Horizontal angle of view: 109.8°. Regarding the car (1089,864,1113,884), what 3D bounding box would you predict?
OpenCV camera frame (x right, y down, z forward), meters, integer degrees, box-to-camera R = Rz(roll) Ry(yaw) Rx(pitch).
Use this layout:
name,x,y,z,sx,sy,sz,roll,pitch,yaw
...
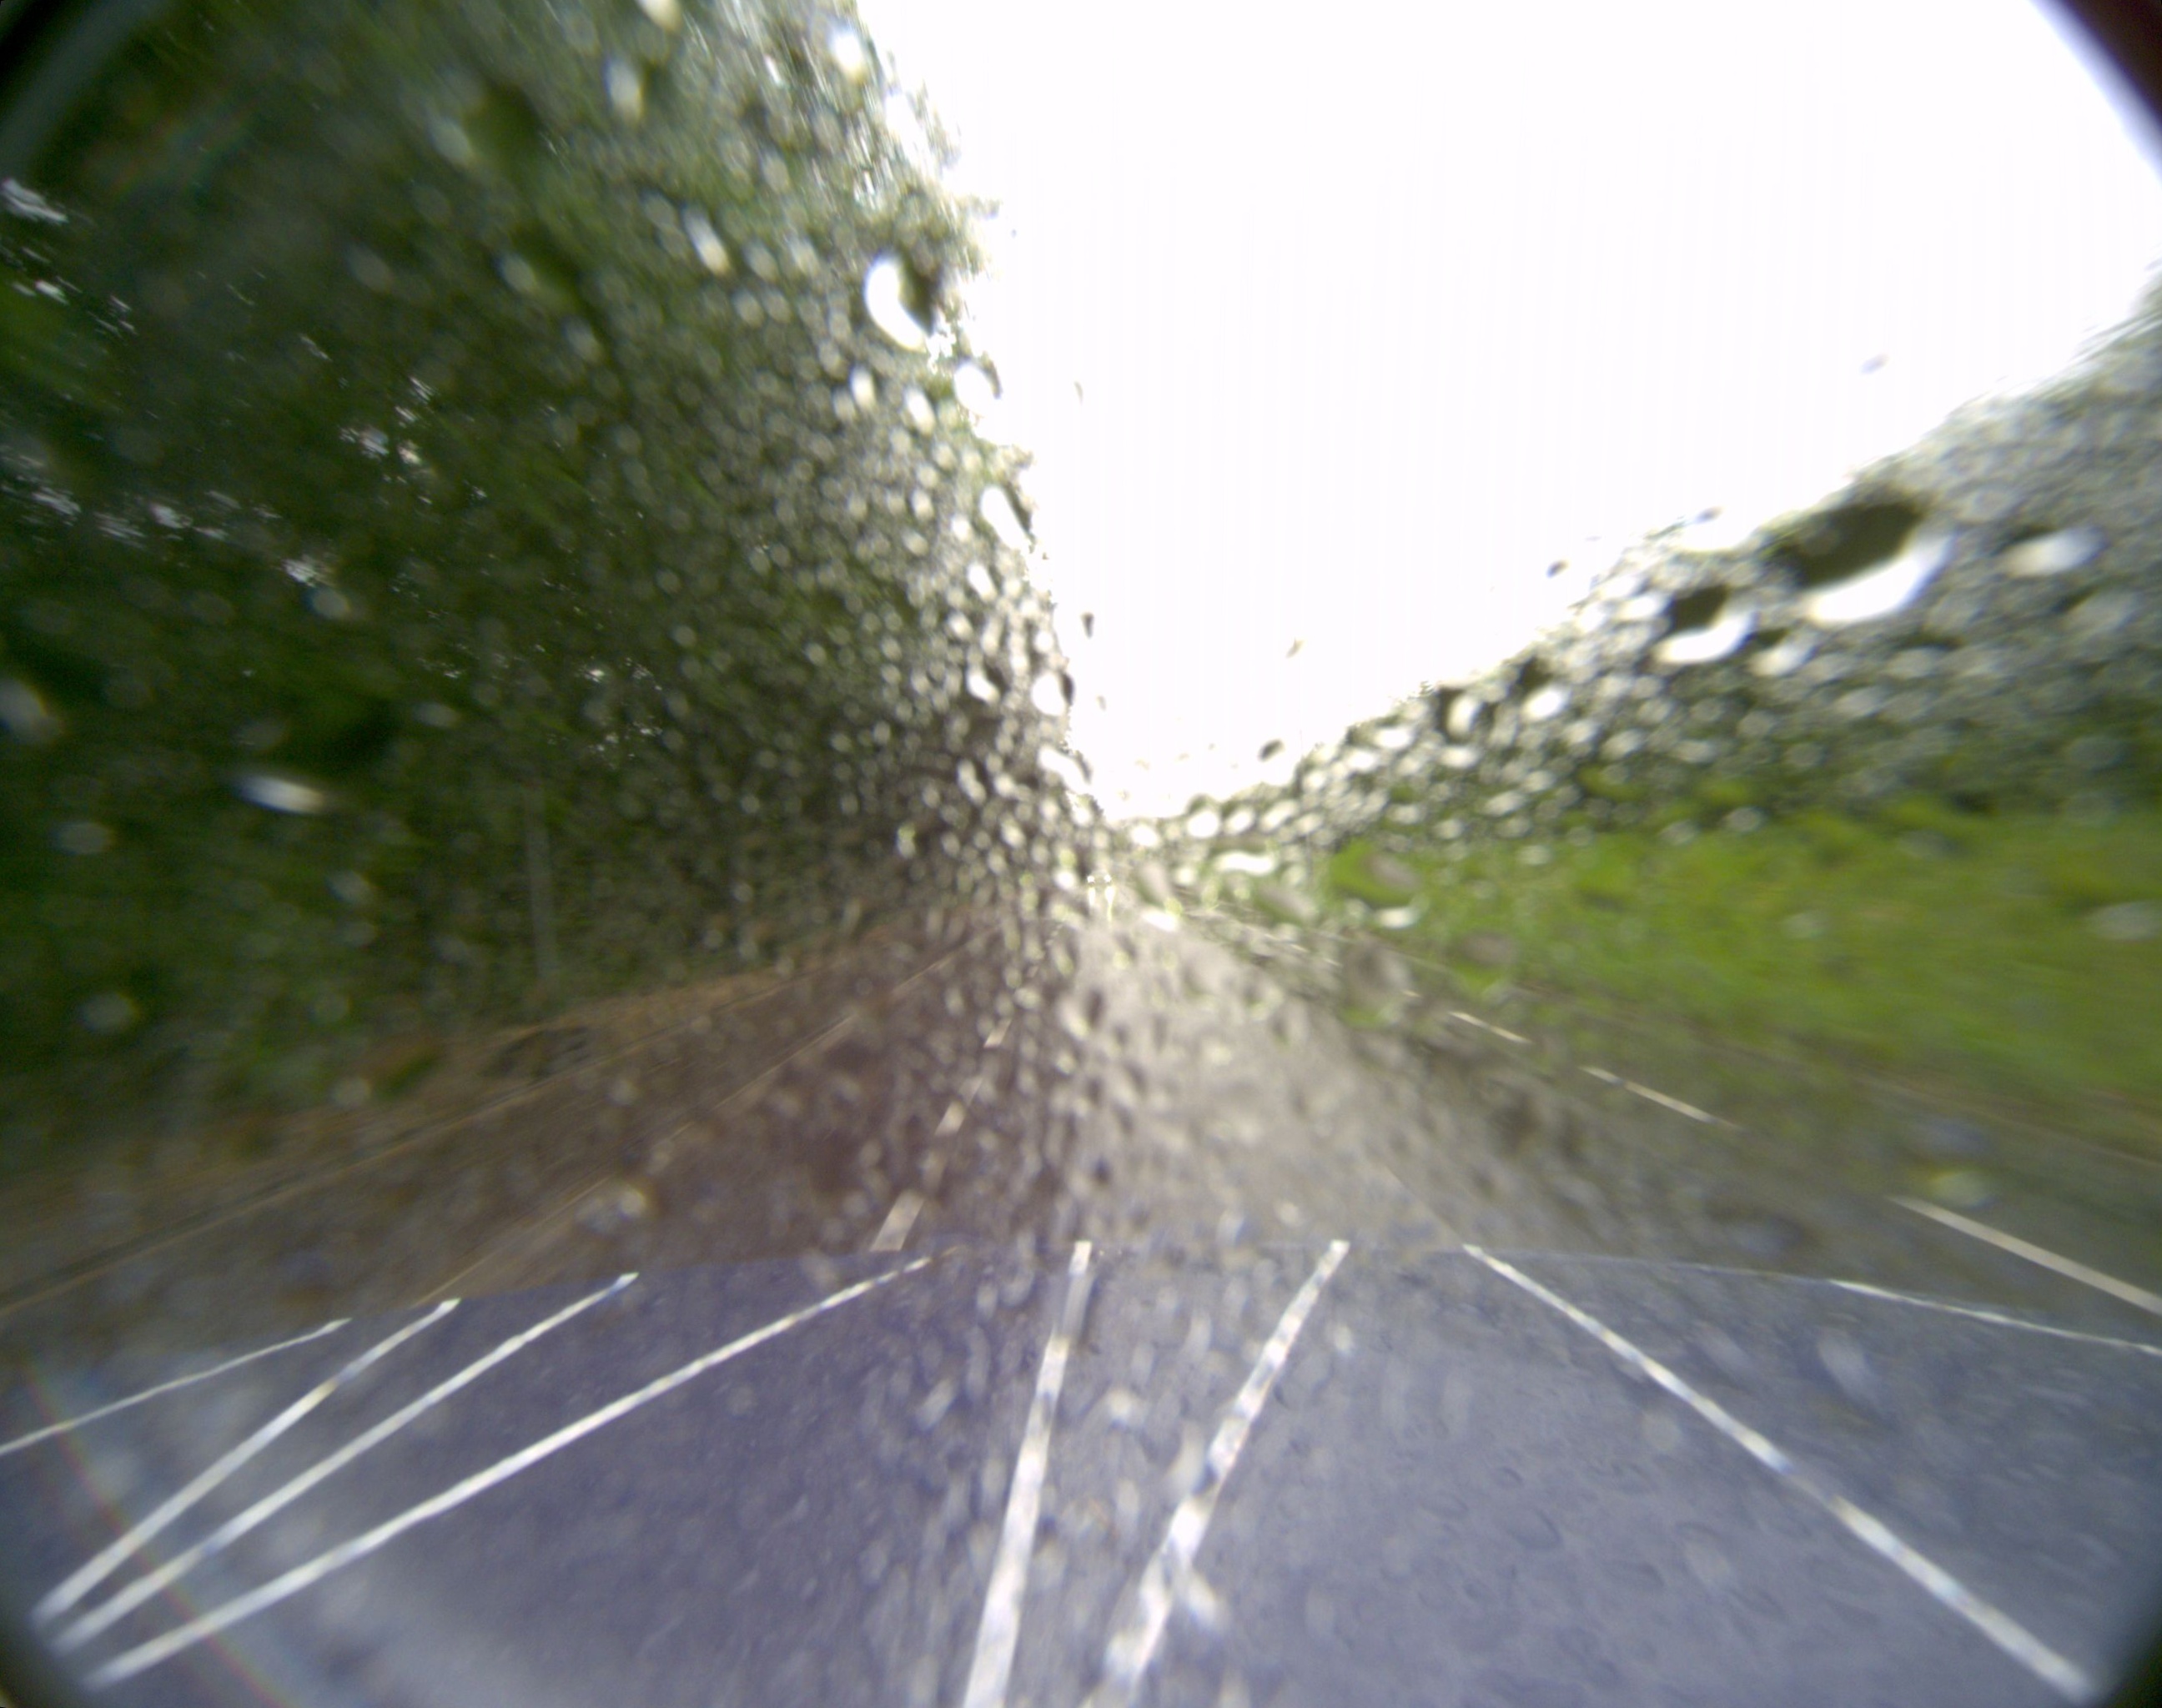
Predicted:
name,x,y,z,sx,sy,sz,roll,pitch,yaw
car,1.702,1.645,62.431,1.798,1.543,4.001,0,0,4
